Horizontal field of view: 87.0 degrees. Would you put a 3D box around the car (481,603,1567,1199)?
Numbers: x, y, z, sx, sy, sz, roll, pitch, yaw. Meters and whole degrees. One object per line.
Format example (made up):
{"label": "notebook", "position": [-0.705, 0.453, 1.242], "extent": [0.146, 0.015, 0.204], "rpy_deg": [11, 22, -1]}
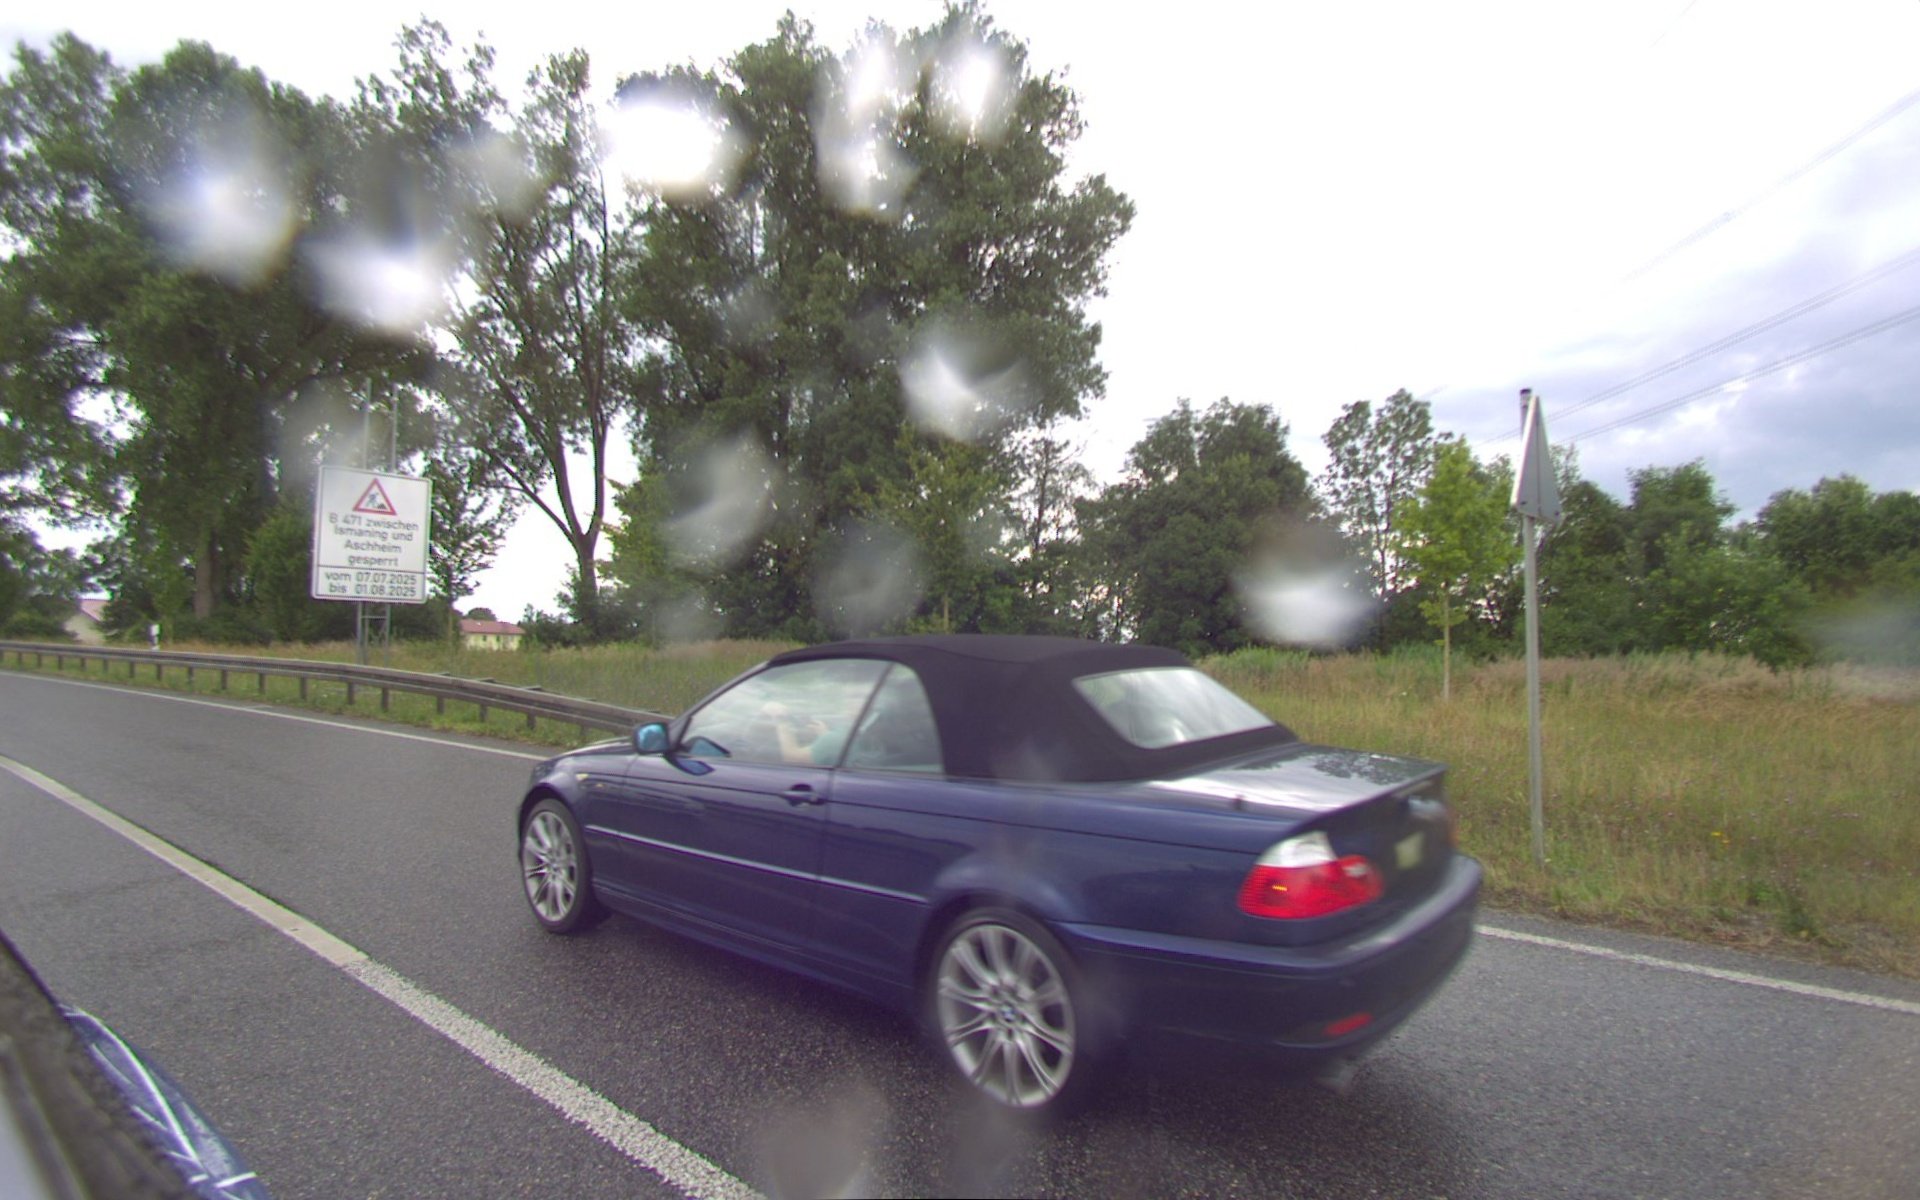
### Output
{"label": "car", "position": [-0.181, 0.746, 4.108], "extent": [4.318, 1.407, 1.613], "rpy_deg": [-1, -1, 41]}
